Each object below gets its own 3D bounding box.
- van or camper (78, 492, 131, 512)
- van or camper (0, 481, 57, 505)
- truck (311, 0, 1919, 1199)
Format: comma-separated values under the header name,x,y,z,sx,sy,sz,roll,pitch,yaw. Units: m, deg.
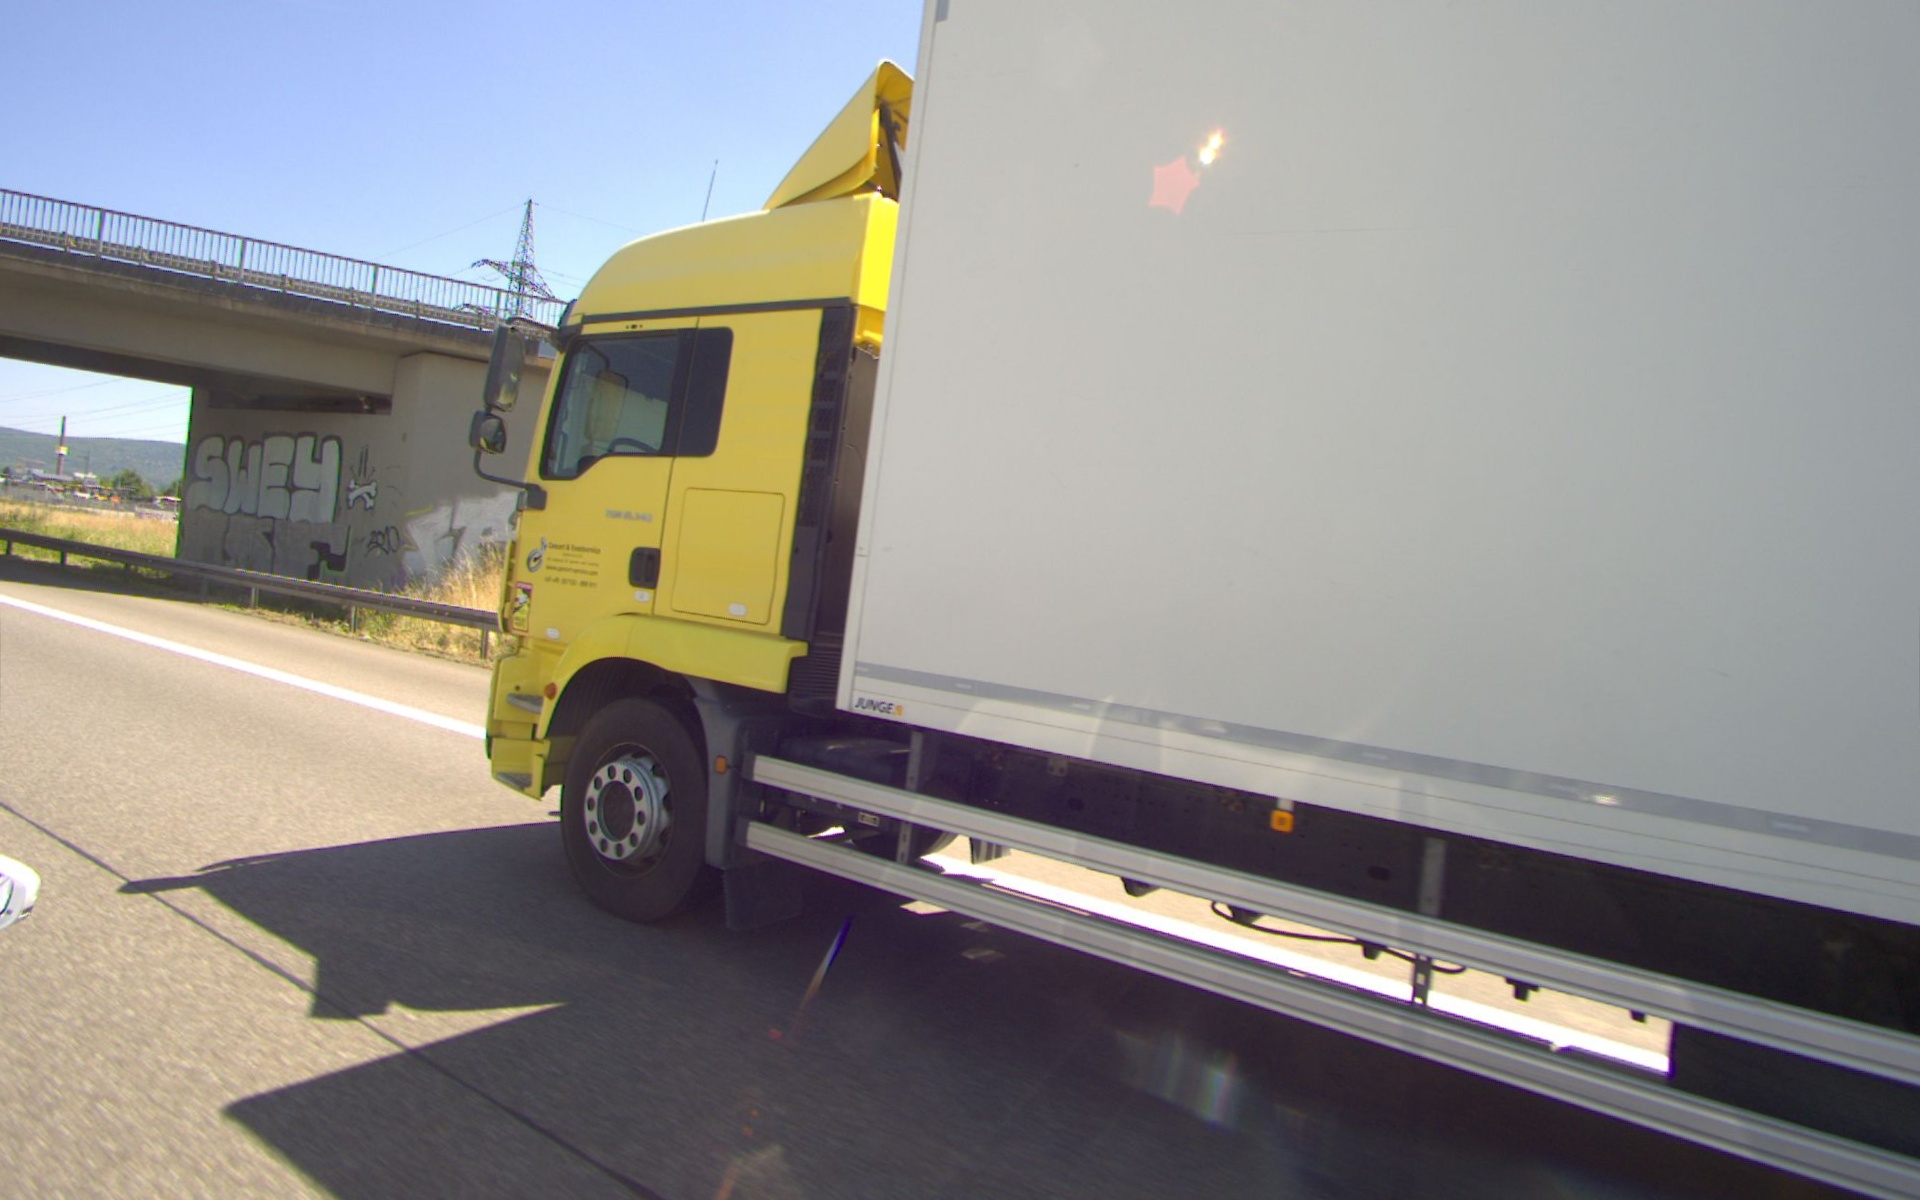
name,x,y,z,sx,sy,sz,roll,pitch,yaw
van or camper,-141.485,-16.180,166.427,2.560,2.432,6.120,7,0,33
van or camper,-139.440,-16.045,150.169,2.398,2.585,6.346,7,0,33
truck,2.143,-0.321,3.650,10.504,4.249,2.939,7,-1,32
